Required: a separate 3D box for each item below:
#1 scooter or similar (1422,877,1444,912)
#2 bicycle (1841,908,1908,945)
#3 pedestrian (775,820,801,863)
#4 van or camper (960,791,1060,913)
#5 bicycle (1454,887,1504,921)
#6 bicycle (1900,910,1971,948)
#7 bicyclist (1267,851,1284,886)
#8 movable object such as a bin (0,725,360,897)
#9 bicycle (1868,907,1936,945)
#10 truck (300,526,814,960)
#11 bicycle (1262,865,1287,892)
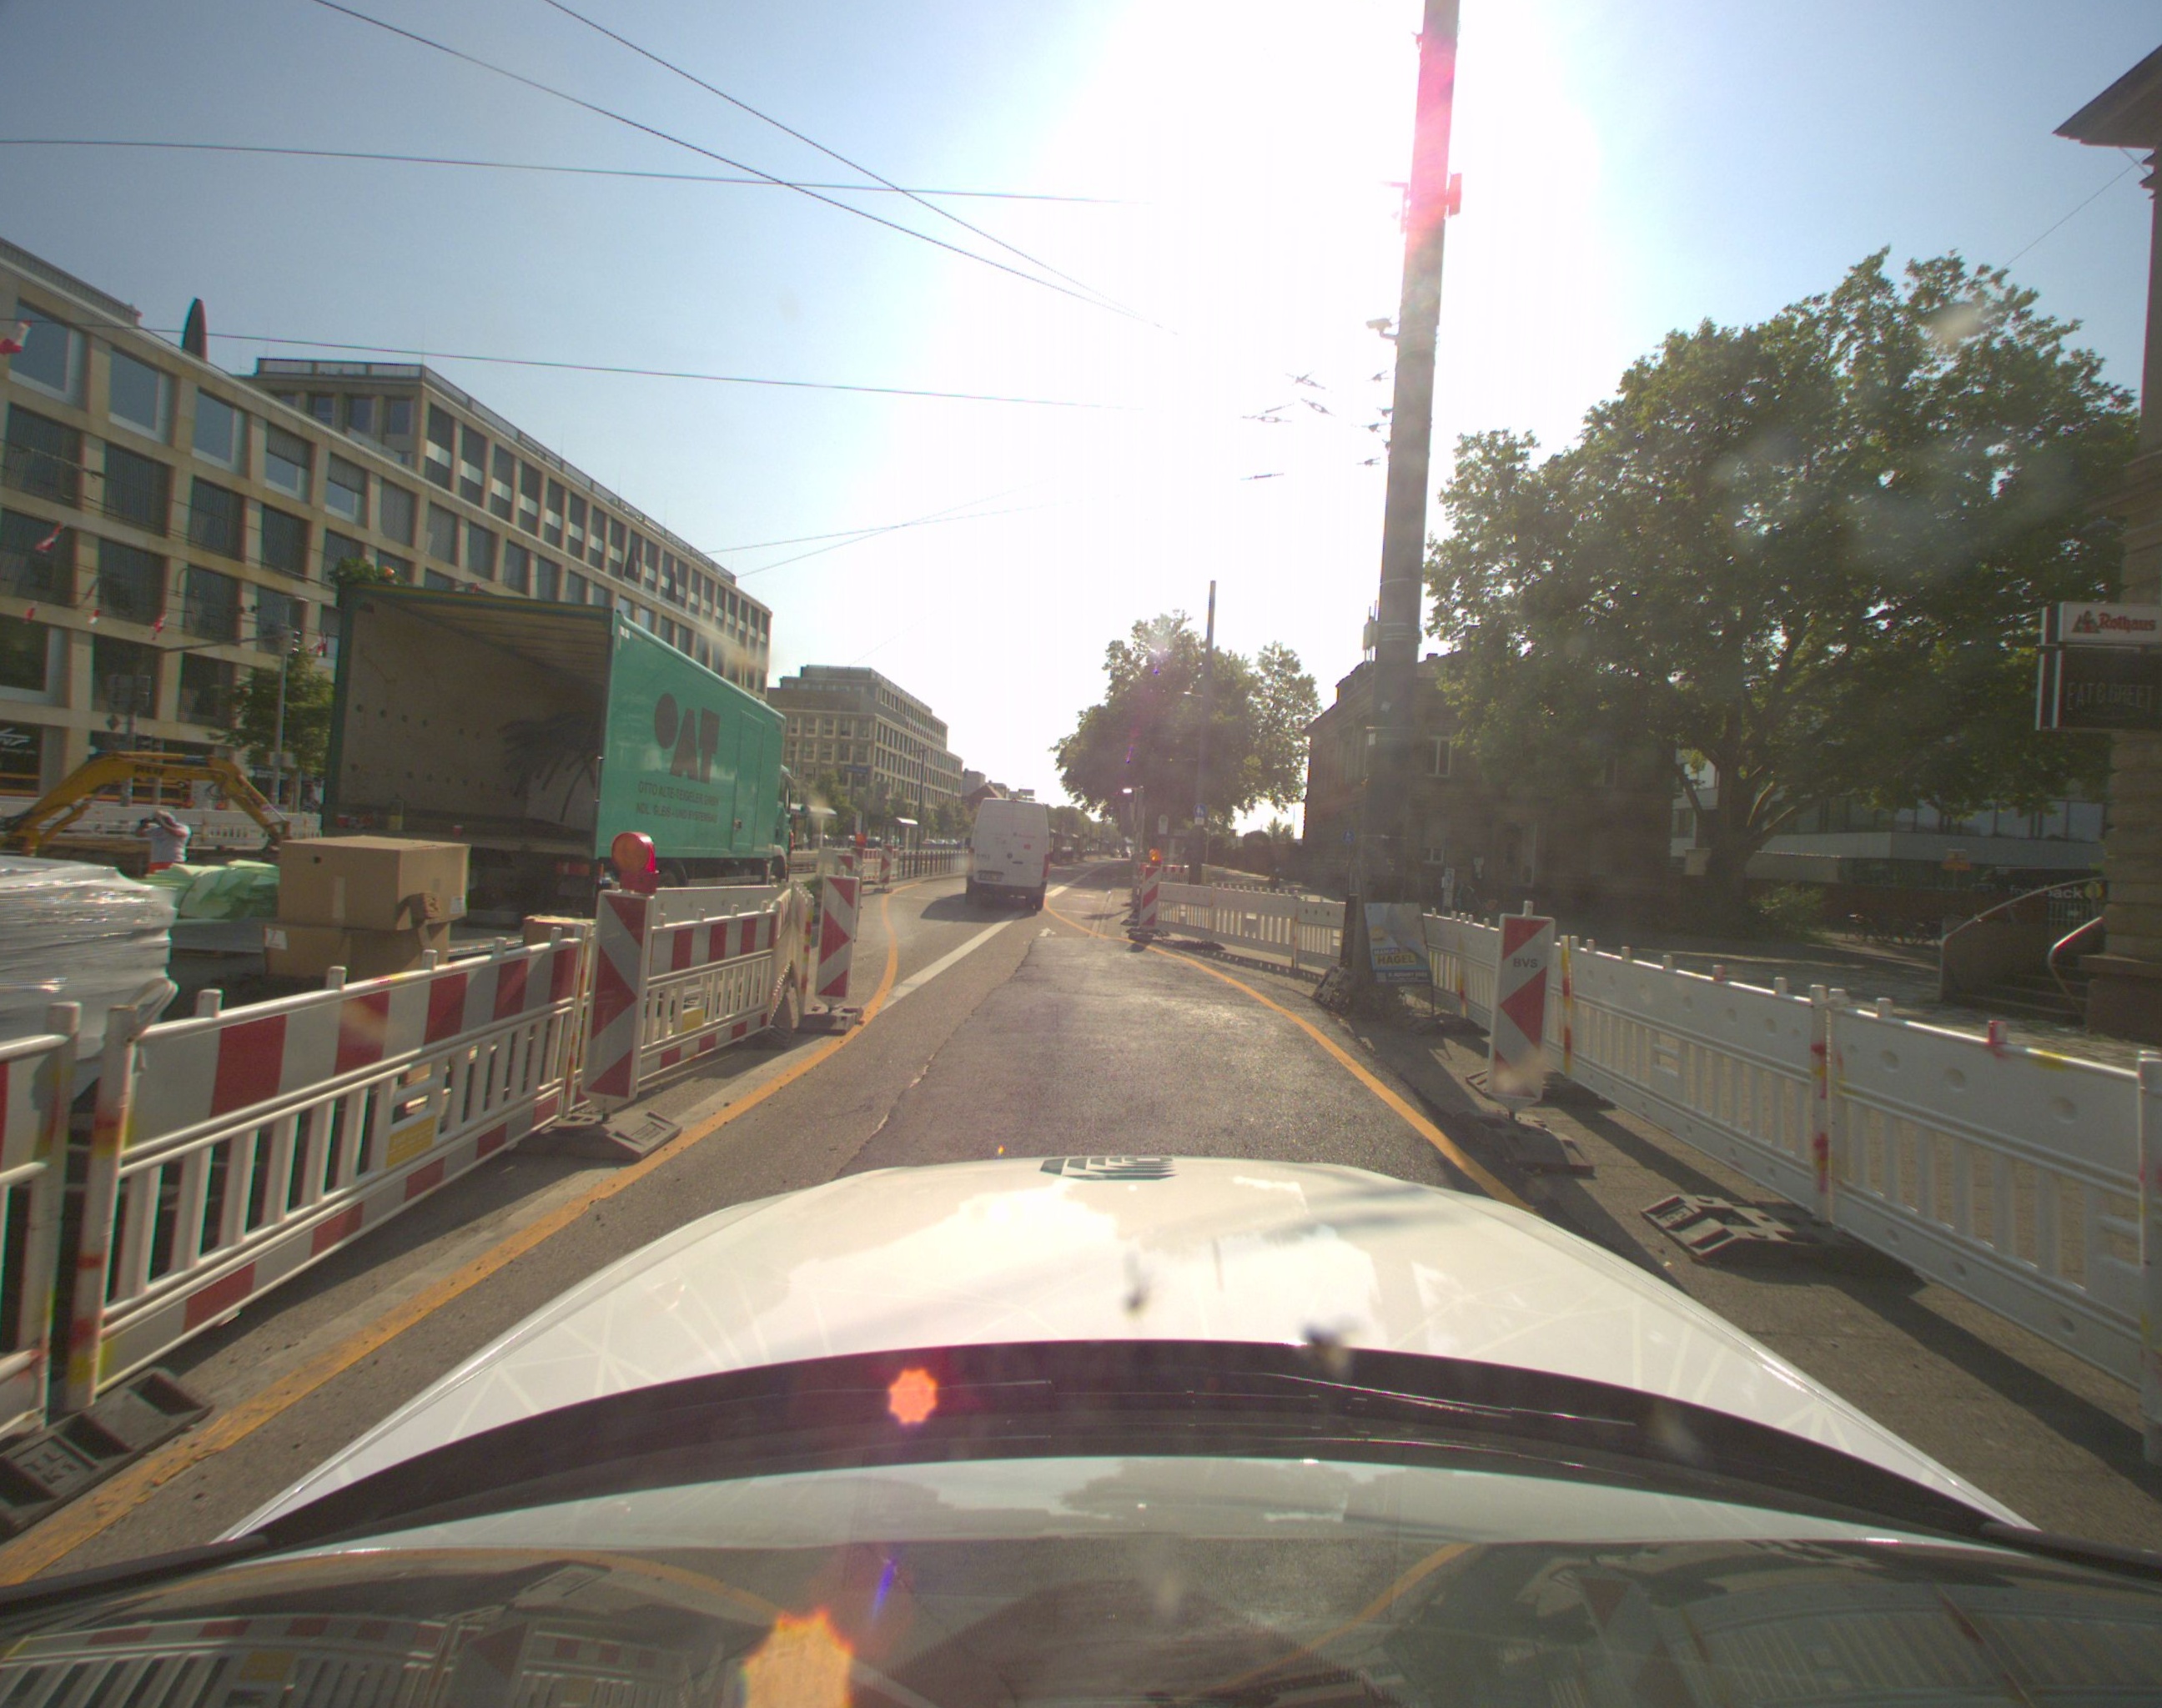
[{"bbox_3d":[13.162,1.500,30.476,0.423,1.228,1.177,4,0,11],"label":"scooter or similar"},{"bbox_3d":[27.585,2.494,28.356,0.489,1.088,1.858,4,1,1],"label":"bicycle"},{"bbox_3d":[-13.978,-0.592,38.813,0.717,1.950,0.792,4,0,19],"label":"pedestrian"},{"bbox_3d":[-1.922,-0.073,21.755,2.113,2.681,5.239,5,0,-6],"label":"van or camper"},{"bbox_3d":[14.427,1.802,29.552,0.492,0.999,1.810,4,3,-15],"label":"bicycle"},{"bbox_3d":[29.582,2.568,28.232,0.489,1.088,1.858,4,1,1],"label":"bicycle"},{"bbox_3d":[8.873,0.670,37.187,0.468,1.539,0.595,4,0,-6],"label":"bicyclist"},{"bbox_3d":[-20.234,-0.862,16.176,3.597,2.957,8.486,5,-1,4],"label":"movable object such as a bin"},{"bbox_3d":[28.564,2.493,28.367,0.489,1.088,1.858,4,1,1],"label":"bicycle"},{"bbox_3d":[-6.392,-1.134,12.074,2.790,3.911,8.397,5,1,-8],"label":"truck"},{"bbox_3d":[8.840,1.104,37.217,0.490,1.088,1.854,4,1,-6],"label":"bicycle"}]
